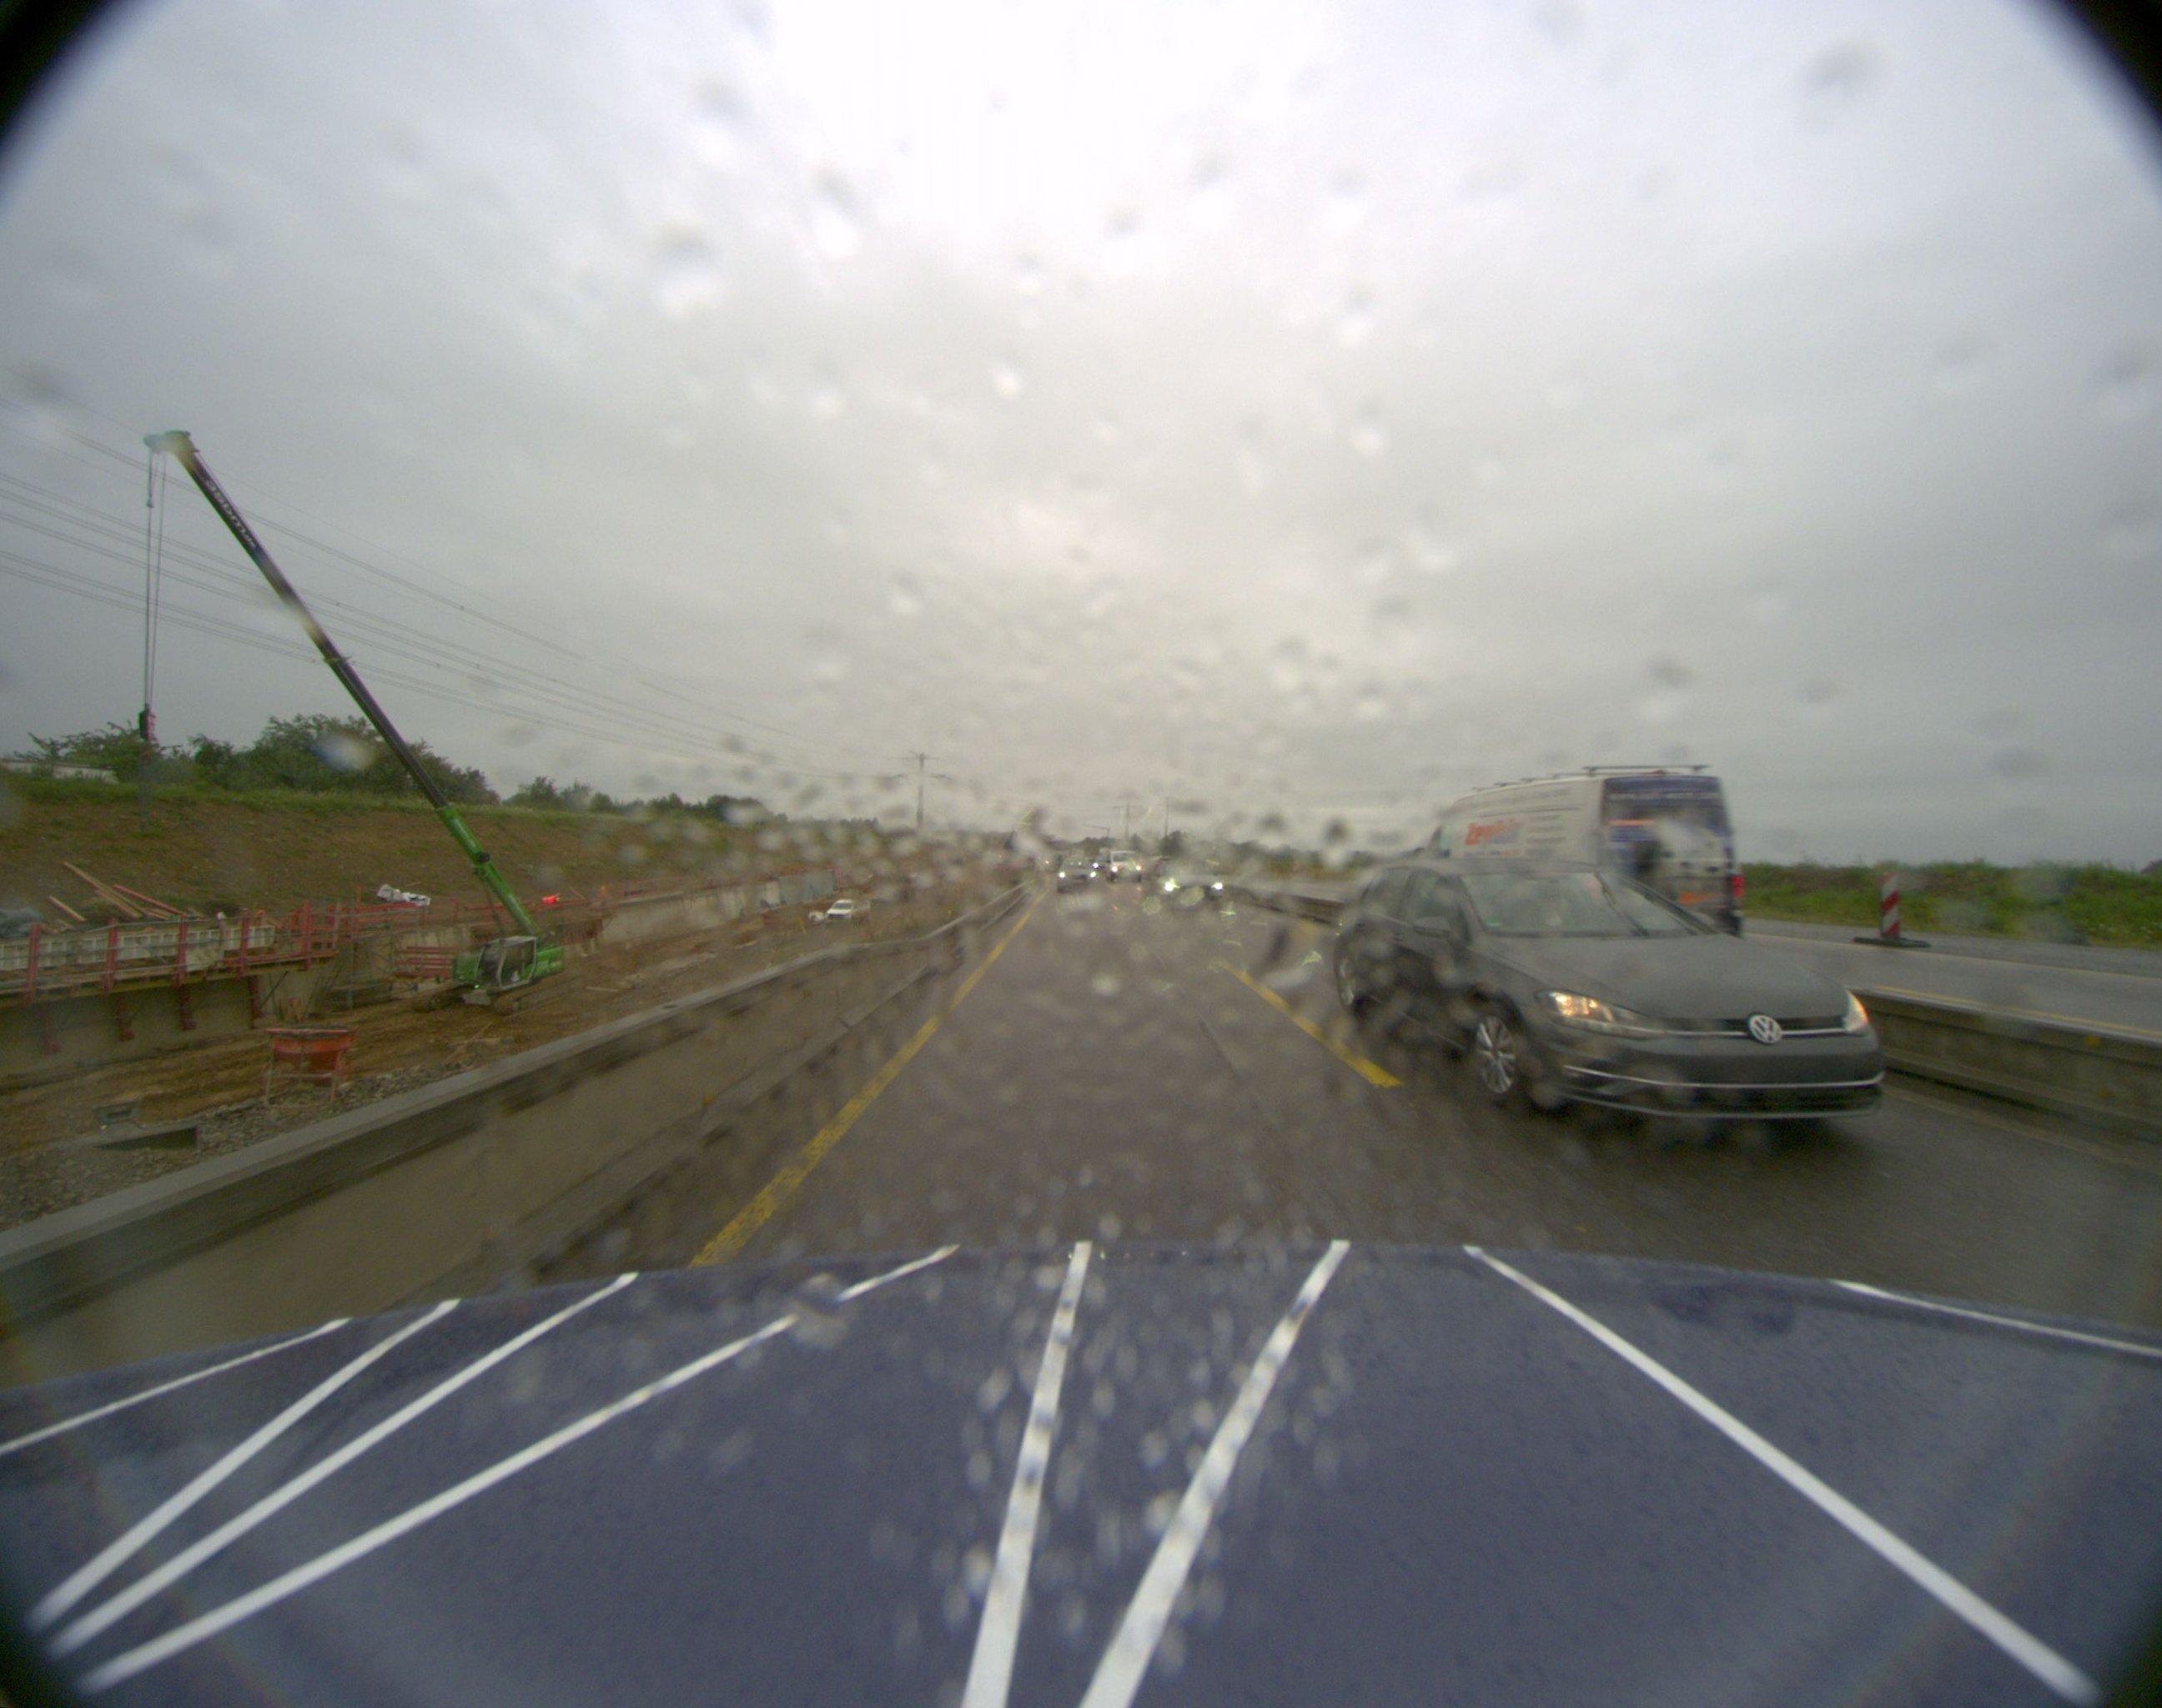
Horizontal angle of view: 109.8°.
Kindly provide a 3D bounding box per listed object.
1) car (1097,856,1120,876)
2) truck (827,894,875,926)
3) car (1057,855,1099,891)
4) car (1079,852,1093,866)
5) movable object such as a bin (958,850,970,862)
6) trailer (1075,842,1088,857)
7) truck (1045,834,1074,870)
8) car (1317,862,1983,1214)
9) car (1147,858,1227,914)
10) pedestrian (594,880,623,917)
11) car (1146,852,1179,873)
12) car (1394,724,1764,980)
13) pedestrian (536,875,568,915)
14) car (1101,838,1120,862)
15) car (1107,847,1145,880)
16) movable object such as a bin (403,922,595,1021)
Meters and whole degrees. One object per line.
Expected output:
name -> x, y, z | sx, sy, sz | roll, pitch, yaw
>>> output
car -> 2.301, 0.968, 64.187 | 1.799, 1.521, 4.067 | -2, 1, 0
truck -> -16.894, 4.053, 56.072 | 1.767, 1.860, 5.785 | 0, 1, 0
car -> -0.088, 0.828, 35.365 | 1.799, 1.524, 4.307 | -2, 0, 1
car -> 0.652, 0.634, 104.737 | 1.800, 1.850, 4.286 | -2, 1, -1
movable object such as a bin -> -27.878, 0.509, 181.189 | 2.252, 2.703, 3.998 | -2, 1, -4
trailer -> 0.106, -1.324, 219.901 | 2.794, 4.176, 13.668 | 0, 0, -4
truck -> -2.229, -0.307, 82.259 | 2.837, 3.617, 9.118 | -2, 1, -1
car -> 3.145, 0.838, 5.392 | 1.654, 1.414, 4.080 | -1, 1, 0
car -> 3.108, 0.883, 23.024 | 1.799, 1.389, 4.268 | -2, 1, 0
pedestrian -> -30.064, 2.832, 48.330 | 0.917, 2.219, 1.006 | -6, 2, 3
car -> 6.271, 0.632, 58.941 | 1.899, 1.488, 4.580 | -2, 1, -1
car -> 7.140, -0.020, 11.957 | 1.998, 2.995, 5.779 | -2, 0, 0
pedestrian -> -31.553, 2.443, 45.342 | 0.918, 2.233, 1.005 | -6, 2, -4
car -> 3.824, -0.532, 100.157 | 1.999, 3.028, 7.169 | -2, 0, -1
car -> 2.762, 0.526, 47.420 | 2.160, 1.848, 5.179 | -2, 1, 2
movable object such as a bin -> -23.125, 4.580, 30.631 | 3.802, 2.790, 4.849 | -1, 6, -1
